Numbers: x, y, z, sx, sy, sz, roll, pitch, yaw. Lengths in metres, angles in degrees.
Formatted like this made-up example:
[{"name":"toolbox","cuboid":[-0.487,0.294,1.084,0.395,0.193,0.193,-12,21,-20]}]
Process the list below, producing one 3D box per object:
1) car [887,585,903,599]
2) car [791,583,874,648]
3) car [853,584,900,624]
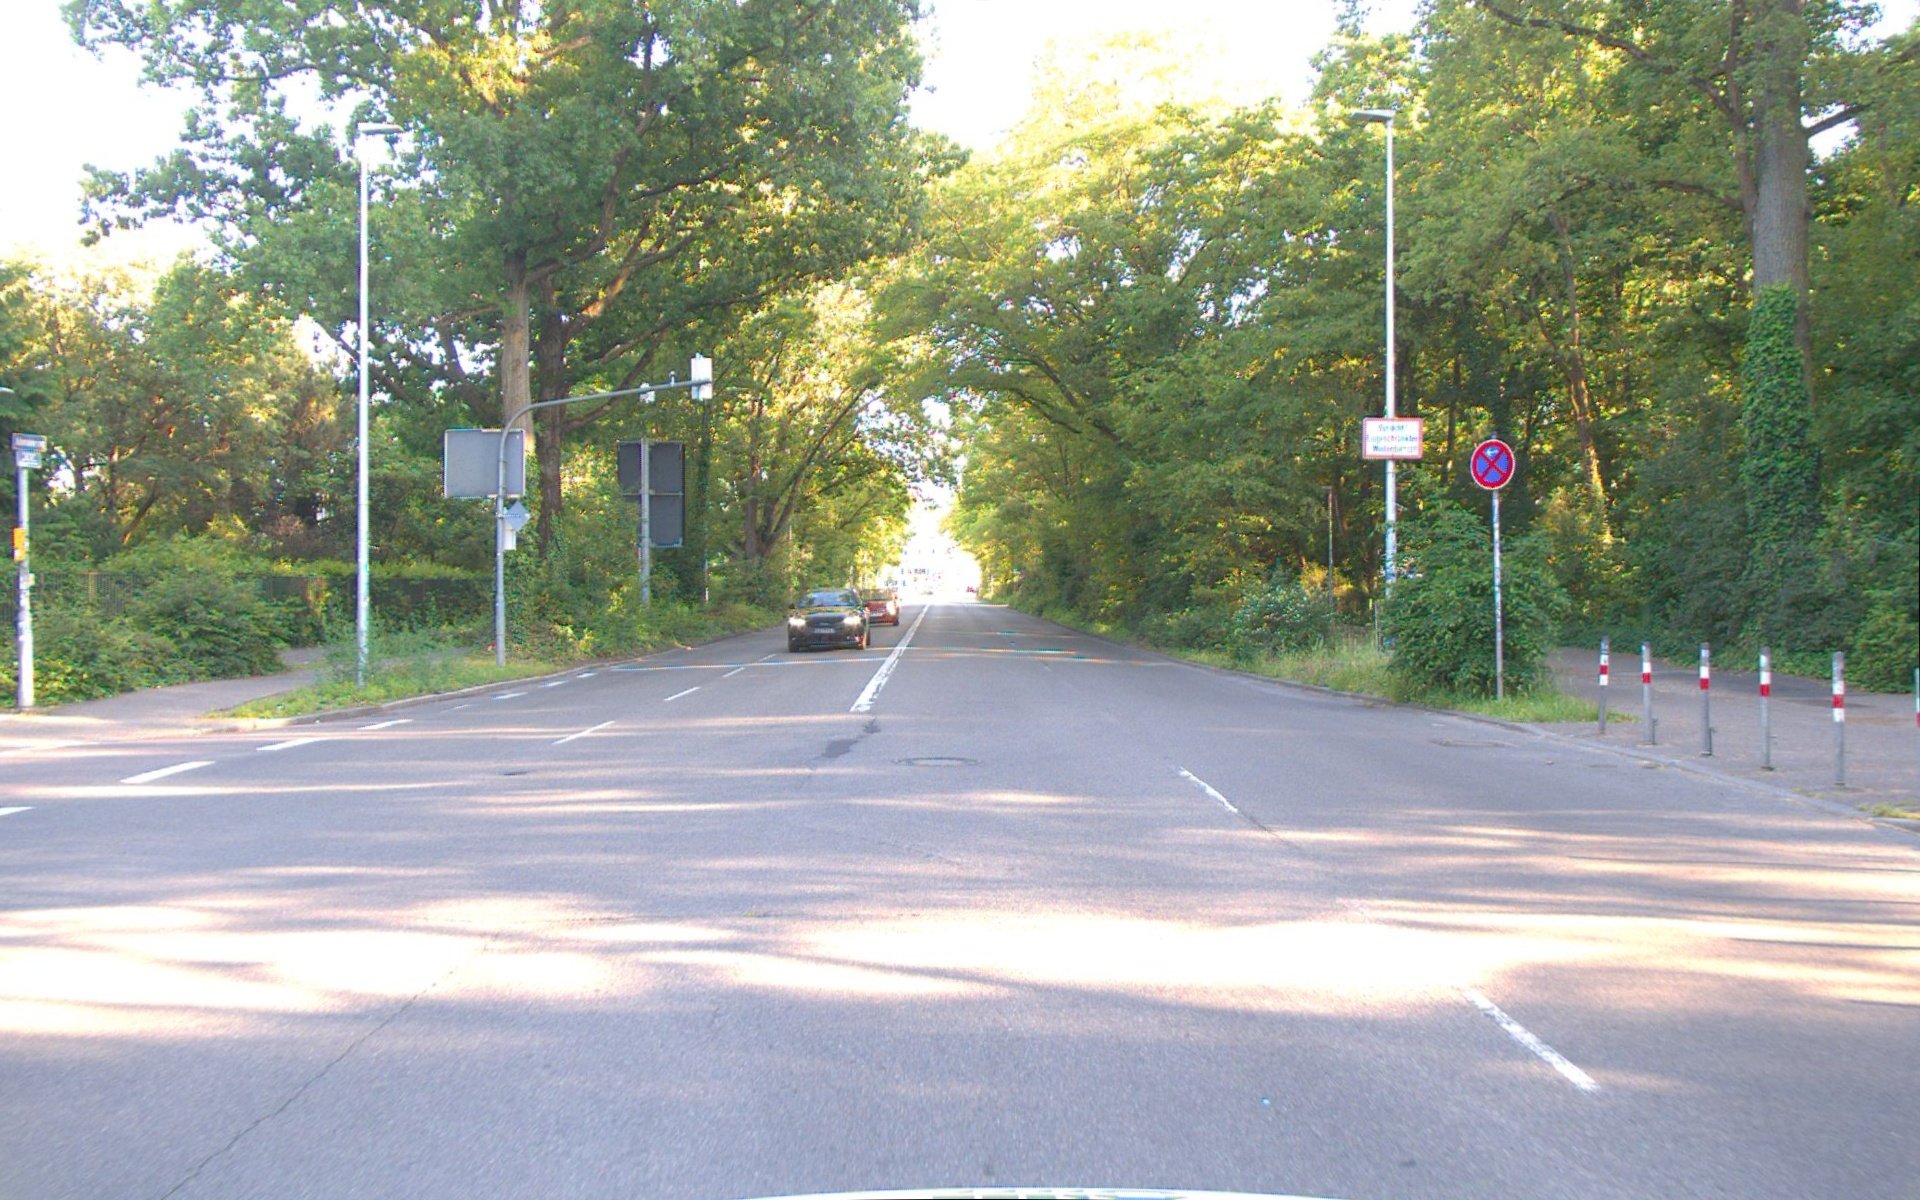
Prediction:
[{"name":"car","cuboid":[-7.222,-0.888,183.607,1.761,1.533,4.363,-1,0,-2]},{"name":"car","cuboid":[-3.134,0.360,41.425,1.849,1.533,4.363,-1,0,-2]},{"name":"car","cuboid":[-3.302,0.157,65.952,1.761,1.533,4.363,-1,0,-2]}]
